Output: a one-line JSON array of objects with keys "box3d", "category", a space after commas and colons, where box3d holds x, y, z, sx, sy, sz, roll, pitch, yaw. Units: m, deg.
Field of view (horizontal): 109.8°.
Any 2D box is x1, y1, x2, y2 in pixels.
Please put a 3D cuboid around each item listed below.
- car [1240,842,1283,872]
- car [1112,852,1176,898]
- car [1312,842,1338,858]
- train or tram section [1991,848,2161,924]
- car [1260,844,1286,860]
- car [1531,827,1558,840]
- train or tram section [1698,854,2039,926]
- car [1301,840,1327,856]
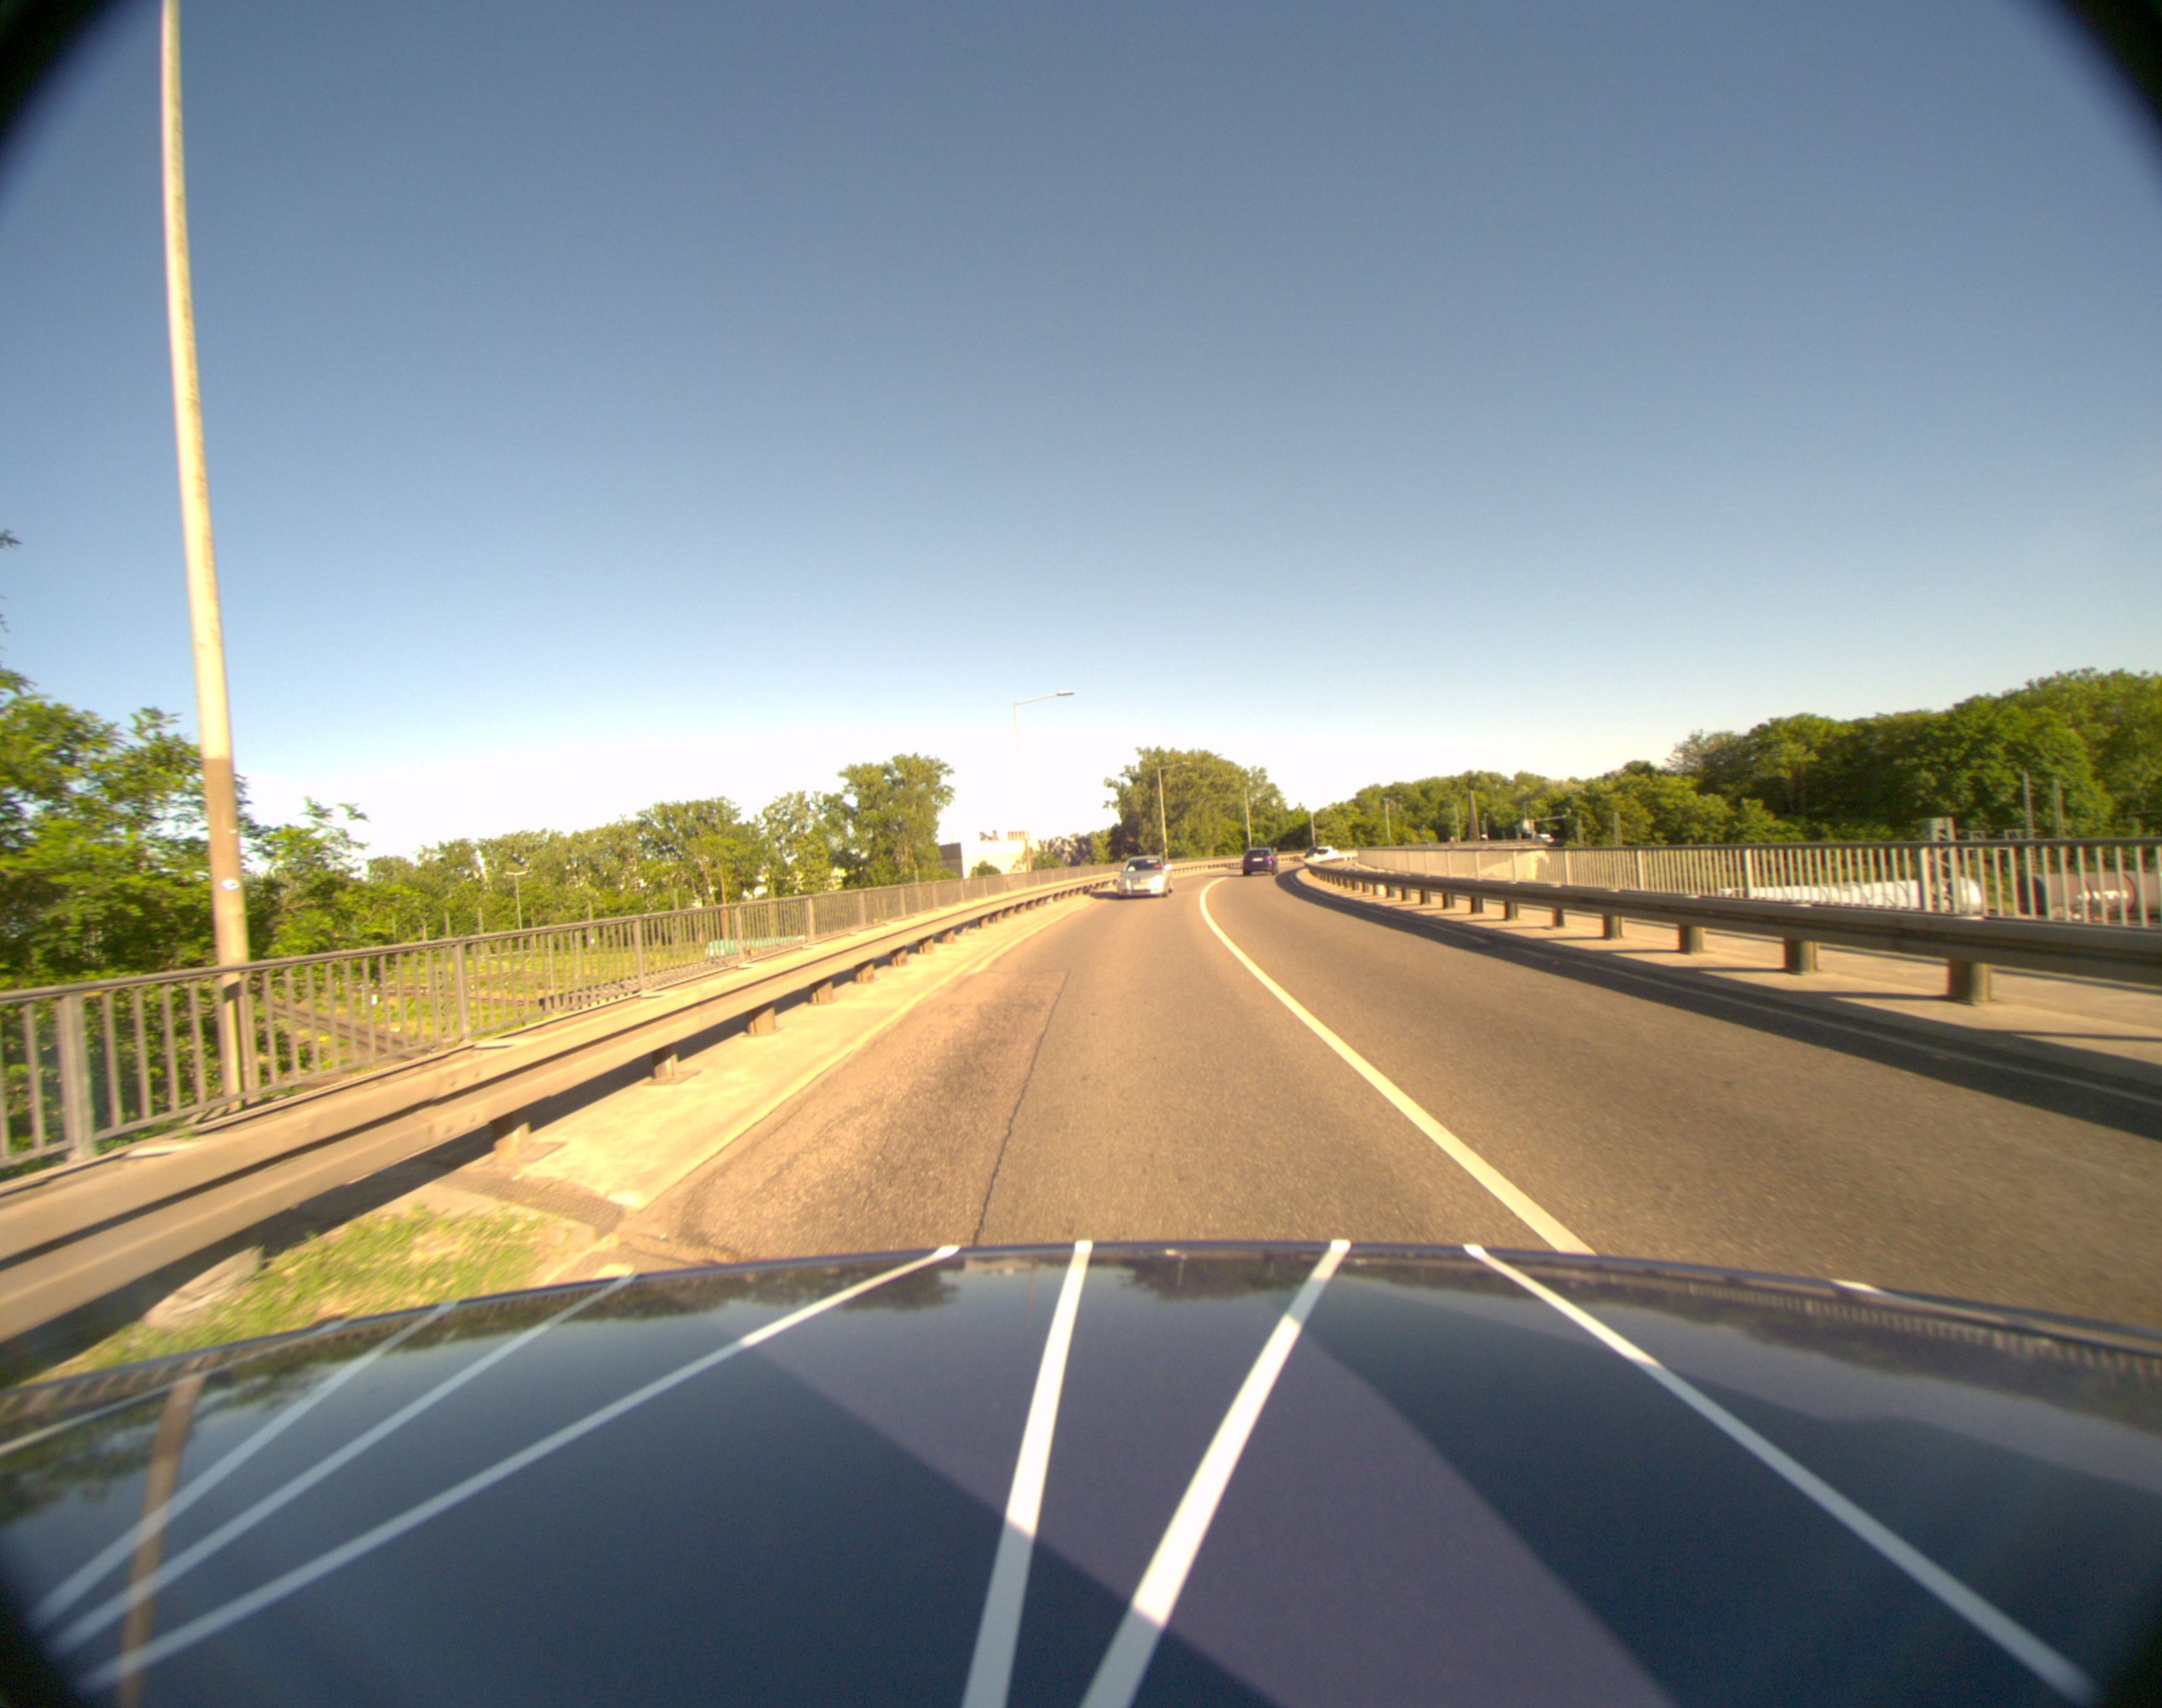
[{"box3d": [10.490, 0.131, 43.908, 1.826, 1.543, 4.190, -2, 0, 21], "category": "car"}, {"box3d": [2.354, 0.691, 27.336, 1.763, 1.428, 4.333, -3, 0, 11], "category": "car"}, {"box3d": [23.959, -0.406, 74.456, 1.838, 1.510, 3.776, -2, 0, 26], "category": "car"}, {"box3d": [70.523, 1.905, 48.237, 16.275, 4.564, 3.911, -3, 1, 22], "category": "train or tram section"}, {"box3d": [19.873, -0.248, 78.490, 1.990, 1.465, 4.136, -2, 0, 22], "category": "car"}, {"box3d": [105.256, -4.634, 172.756, 2.114, 2.484, 5.705, -3, -2, -6], "category": "car"}, {"box3d": [55.395, 2.638, 54.505, 16.731, 4.564, 3.911, -3, 1, 22], "category": "train or tram section"}, {"box3d": [26.253, -0.689, 85.711, 1.918, 1.608, 3.749, -2, 0, 30], "category": "car"}]
